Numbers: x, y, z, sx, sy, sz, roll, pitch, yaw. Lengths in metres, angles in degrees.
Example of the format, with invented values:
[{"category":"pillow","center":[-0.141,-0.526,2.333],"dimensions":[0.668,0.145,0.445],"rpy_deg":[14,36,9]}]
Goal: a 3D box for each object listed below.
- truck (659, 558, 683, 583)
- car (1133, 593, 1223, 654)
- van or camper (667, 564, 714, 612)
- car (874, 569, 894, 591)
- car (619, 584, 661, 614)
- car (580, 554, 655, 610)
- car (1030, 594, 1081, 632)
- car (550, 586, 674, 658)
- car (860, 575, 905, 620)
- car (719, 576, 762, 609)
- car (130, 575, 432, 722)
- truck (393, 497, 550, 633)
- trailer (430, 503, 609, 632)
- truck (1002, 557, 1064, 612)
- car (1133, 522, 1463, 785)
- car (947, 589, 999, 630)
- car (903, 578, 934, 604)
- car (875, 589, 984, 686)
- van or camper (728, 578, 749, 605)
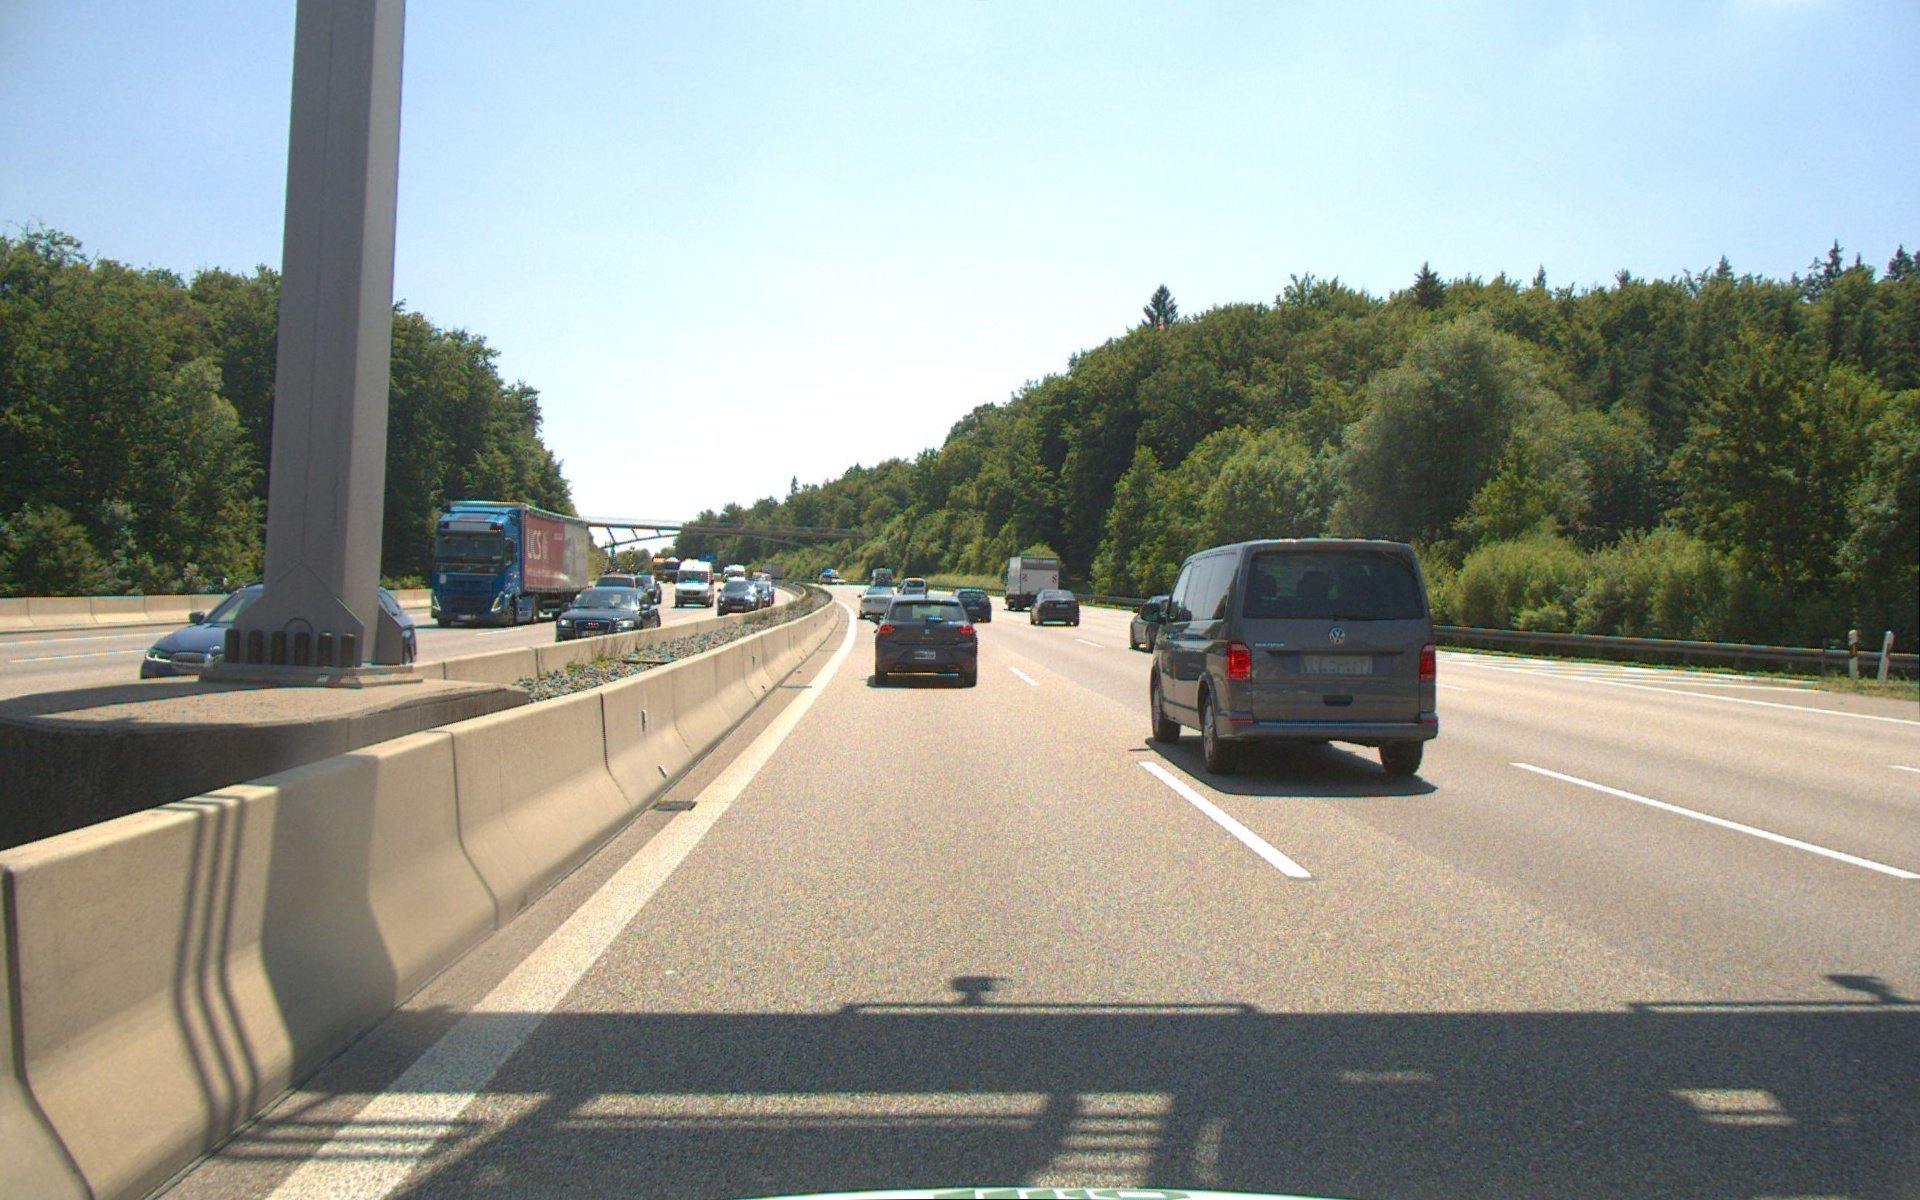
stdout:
[{"category":"truck","center":[-42.036,-4.230,240.821],"dimensions":[2.559,3.526,9.869],"rpy_deg":[2,0,-6]},{"category":"car","center":[5.636,0.586,43.151],"dimensions":[1.668,1.420,4.153],"rpy_deg":[2,0,-1]},{"category":"van or camper","center":[-15.573,-0.682,95.877],"dimensions":[2.058,2.611,6.395],"rpy_deg":[1,0,-4]},{"category":"car","center":[-8.816,-2.306,191.230],"dimensions":[2.220,2.413,4.699],"rpy_deg":[1,0,-3]},{"category":"car","center":[-19.524,-0.051,101.085],"dimensions":[1.955,1.793,5.064],"rpy_deg":[1,0,-5]},{"category":"car","center":[-12.767,-0.663,61.961],"dimensions":[1.953,2.001,4.781],"rpy_deg":[1,0,-2]},{"category":"car","center":[3.937,0.507,68.653],"dimensions":[1.632,1.433,4.901],"rpy_deg":[1,1,-2]},{"category":"car","center":[-7.992,0.465,38.408],"dimensions":[1.917,1.545,5.131],"rpy_deg":[1,0,-2]},{"category":"car","center":[-3.582,-0.073,76.935],"dimensions":[1.972,1.878,3.997],"rpy_deg":[1,-3,-2]},{"category":"car","center":[-9.999,-0.336,75.490],"dimensions":[1.608,1.373,3.997],"rpy_deg":[2,0,-4]},{"category":"car","center":[-7.912,0.507,19.775],"dimensions":[1.816,1.545,4.520],"rpy_deg":[1,0,-1]},{"category":"truck","center":[-16.400,-1.120,56.012],"dimensions":[3.711,4.250,5.875],"rpy_deg":[2,0,-3]},{"category":"trailer","center":[-16.875,-1.121,64.843],"dimensions":[3.759,4.354,14.467],"rpy_deg":[2,0,-3]},{"category":"truck","center":[4.437,-0.984,101.663],"dimensions":[2.927,3.222,7.568],"rpy_deg":[1,1,-4]},{"category":"car","center":[2.958,0.422,15.693],"dimensions":[1.923,2.069,5.081],"rpy_deg":[1,0,-2]},{"category":"car","center":[0.565,0.448,73.210],"dimensions":[1.954,1.758,4.145],"rpy_deg":[1,-1,-4]},{"category":"car","center":[-3.020,-0.641,119.350],"dimensions":[2.061,1.774,4.684],"rpy_deg":[1,1,-4]},{"category":"car","center":[-0.493,0.578,27.868],"dimensions":[1.673,1.458,4.000],"rpy_deg":[1,0,-1]},{"category":"van or camper","center":[-24.296,-0.966,181.403],"dimensions":[1.955,2.848,7.407],"rpy_deg":[1,0,-5]}]
